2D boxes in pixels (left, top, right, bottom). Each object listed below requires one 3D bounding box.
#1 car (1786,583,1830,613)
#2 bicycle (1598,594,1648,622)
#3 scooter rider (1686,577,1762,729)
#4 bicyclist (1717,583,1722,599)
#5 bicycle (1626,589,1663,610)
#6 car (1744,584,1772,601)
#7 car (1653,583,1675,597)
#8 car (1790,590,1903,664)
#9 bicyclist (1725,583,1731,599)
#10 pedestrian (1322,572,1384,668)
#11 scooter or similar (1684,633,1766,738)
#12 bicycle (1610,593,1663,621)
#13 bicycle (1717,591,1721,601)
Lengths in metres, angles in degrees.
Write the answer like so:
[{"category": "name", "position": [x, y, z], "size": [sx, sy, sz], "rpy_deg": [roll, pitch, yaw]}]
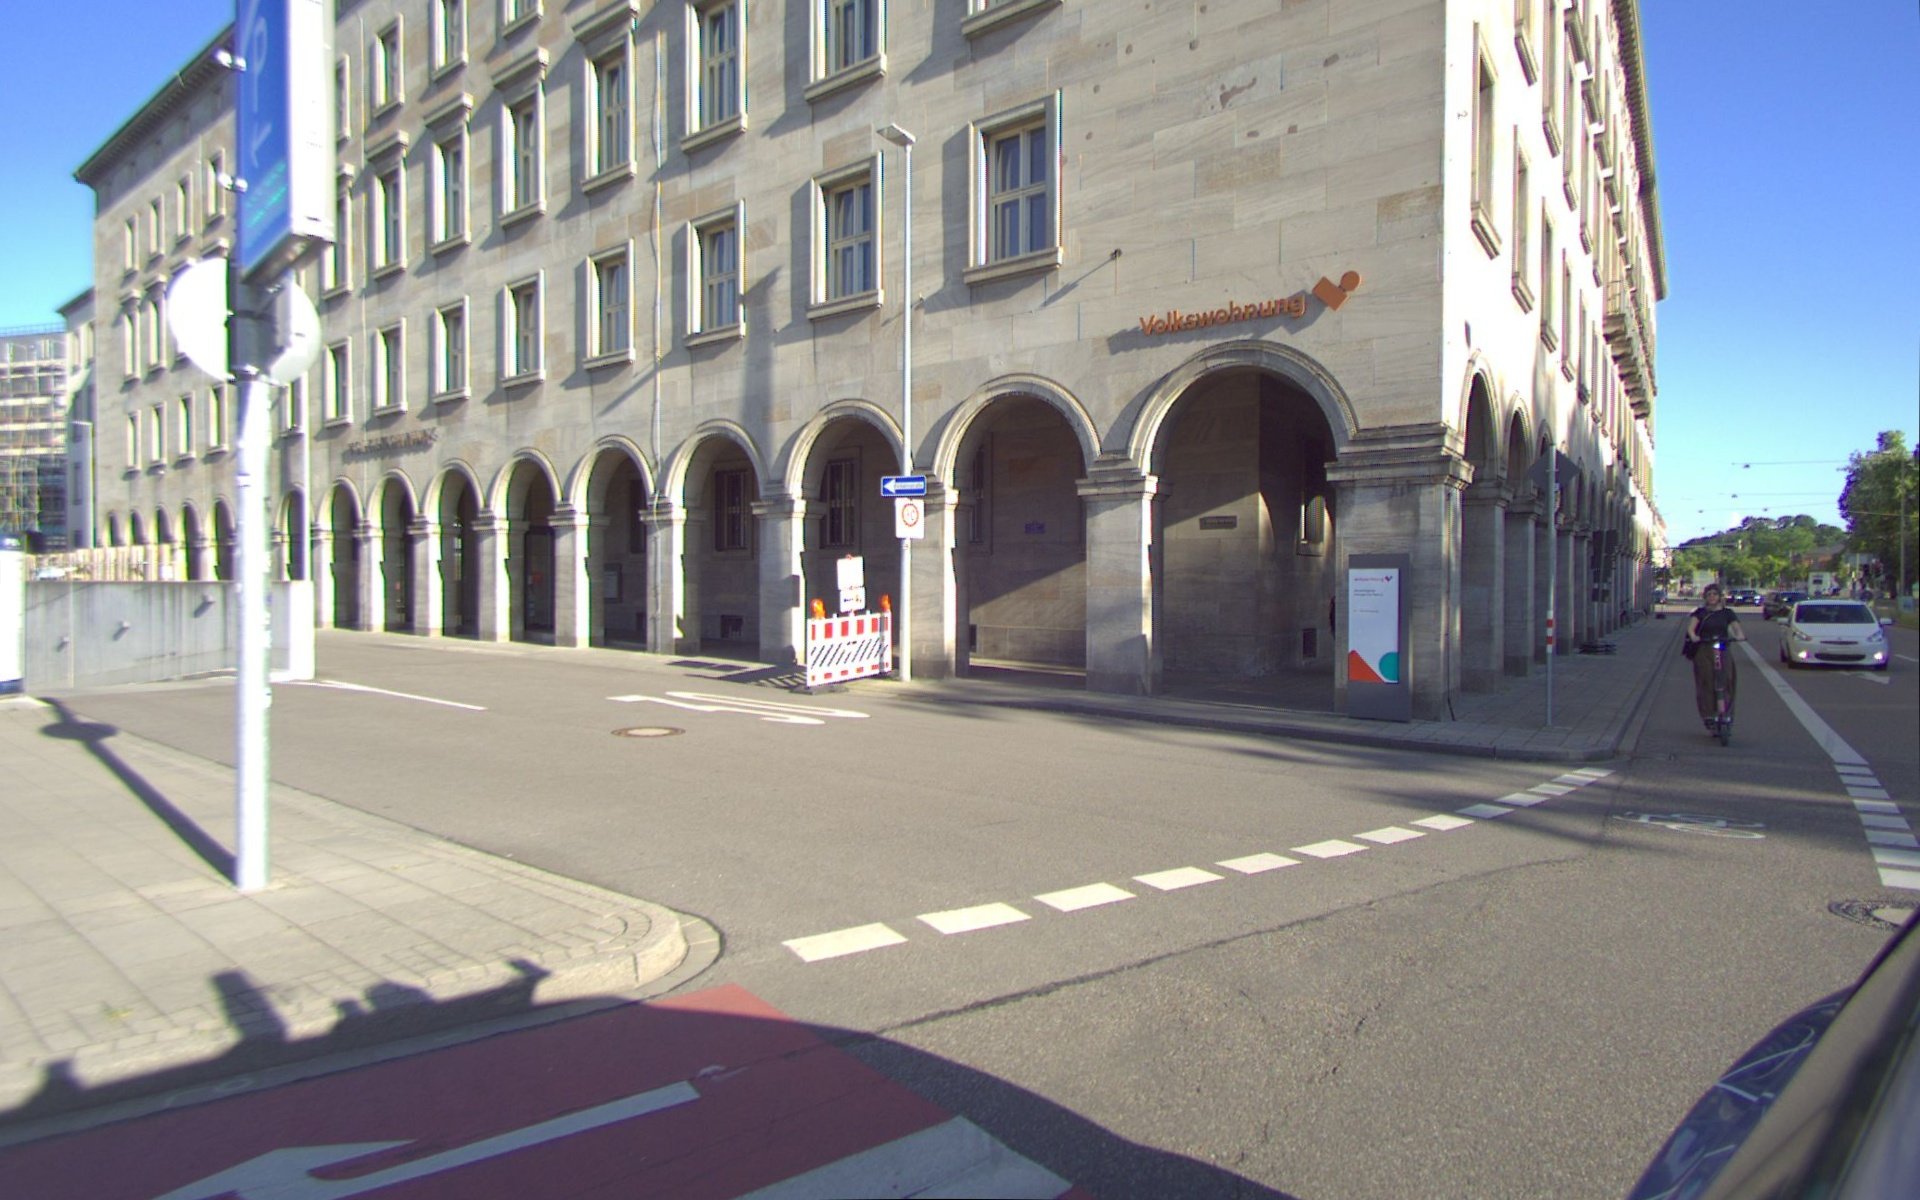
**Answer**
[{"category": "car", "position": [47.376, -0.126, 56.611], "size": [1.725, 1.659, 3.945], "rpy_deg": [-1, 0, 38]}, {"category": "bicycle", "position": [26.597, 0.306, 40.598], "size": [1.678, 1.063, 0.613], "rpy_deg": [1, 2, -9]}, {"category": "scooter rider", "position": [8.599, 0.564, 11.412], "size": [0.558, 1.652, 0.644], "rpy_deg": [1, 1, 28]}, {"category": "bicyclist", "position": [74.224, -0.891, 98.946], "size": [0.356, 1.595, 0.528], "rpy_deg": [1, 1, 37]}, {"category": "bicycle", "position": [39.165, -0.023, 57.911], "size": [0.650, 1.147, 1.717], "rpy_deg": [1, 2, -13]}, {"category": "car", "position": [77.632, -0.774, 98.478], "size": [1.989, 1.593, 4.488], "rpy_deg": [1, 1, 37]}, {"category": "car", "position": [82.519, -1.178, 118.637], "size": [1.989, 1.593, 4.489], "rpy_deg": [1, 1, 37]}, {"category": "car", "position": [19.588, 0.536, 22.487], "size": [1.671, 1.482, 3.713], "rpy_deg": [-1, 0, 38]}, {"category": "bicyclist", "position": [74.866, -0.859, 98.629], "size": [0.451, 1.595, 0.528], "rpy_deg": [1, 1, 37]}, {"category": "pedestrian", "position": [6.702, 0.319, 17.252], "size": [0.774, 1.589, 0.940], "rpy_deg": [1, 0, 35]}, {"category": "scooter or similar", "position": [8.571, 0.926, 11.375], "size": [0.552, 1.044, 1.106], "rpy_deg": [1, 1, 28]}, {"category": "bicycle", "position": [28.008, 0.269, 41.935], "size": [1.694, 1.063, 0.523], "rpy_deg": [2, 2, 24]}, {"category": "bicycle", "position": [74.223, -0.396, 98.953], "size": [0.350, 0.884, 1.366], "rpy_deg": [1, 1, 37]}]
